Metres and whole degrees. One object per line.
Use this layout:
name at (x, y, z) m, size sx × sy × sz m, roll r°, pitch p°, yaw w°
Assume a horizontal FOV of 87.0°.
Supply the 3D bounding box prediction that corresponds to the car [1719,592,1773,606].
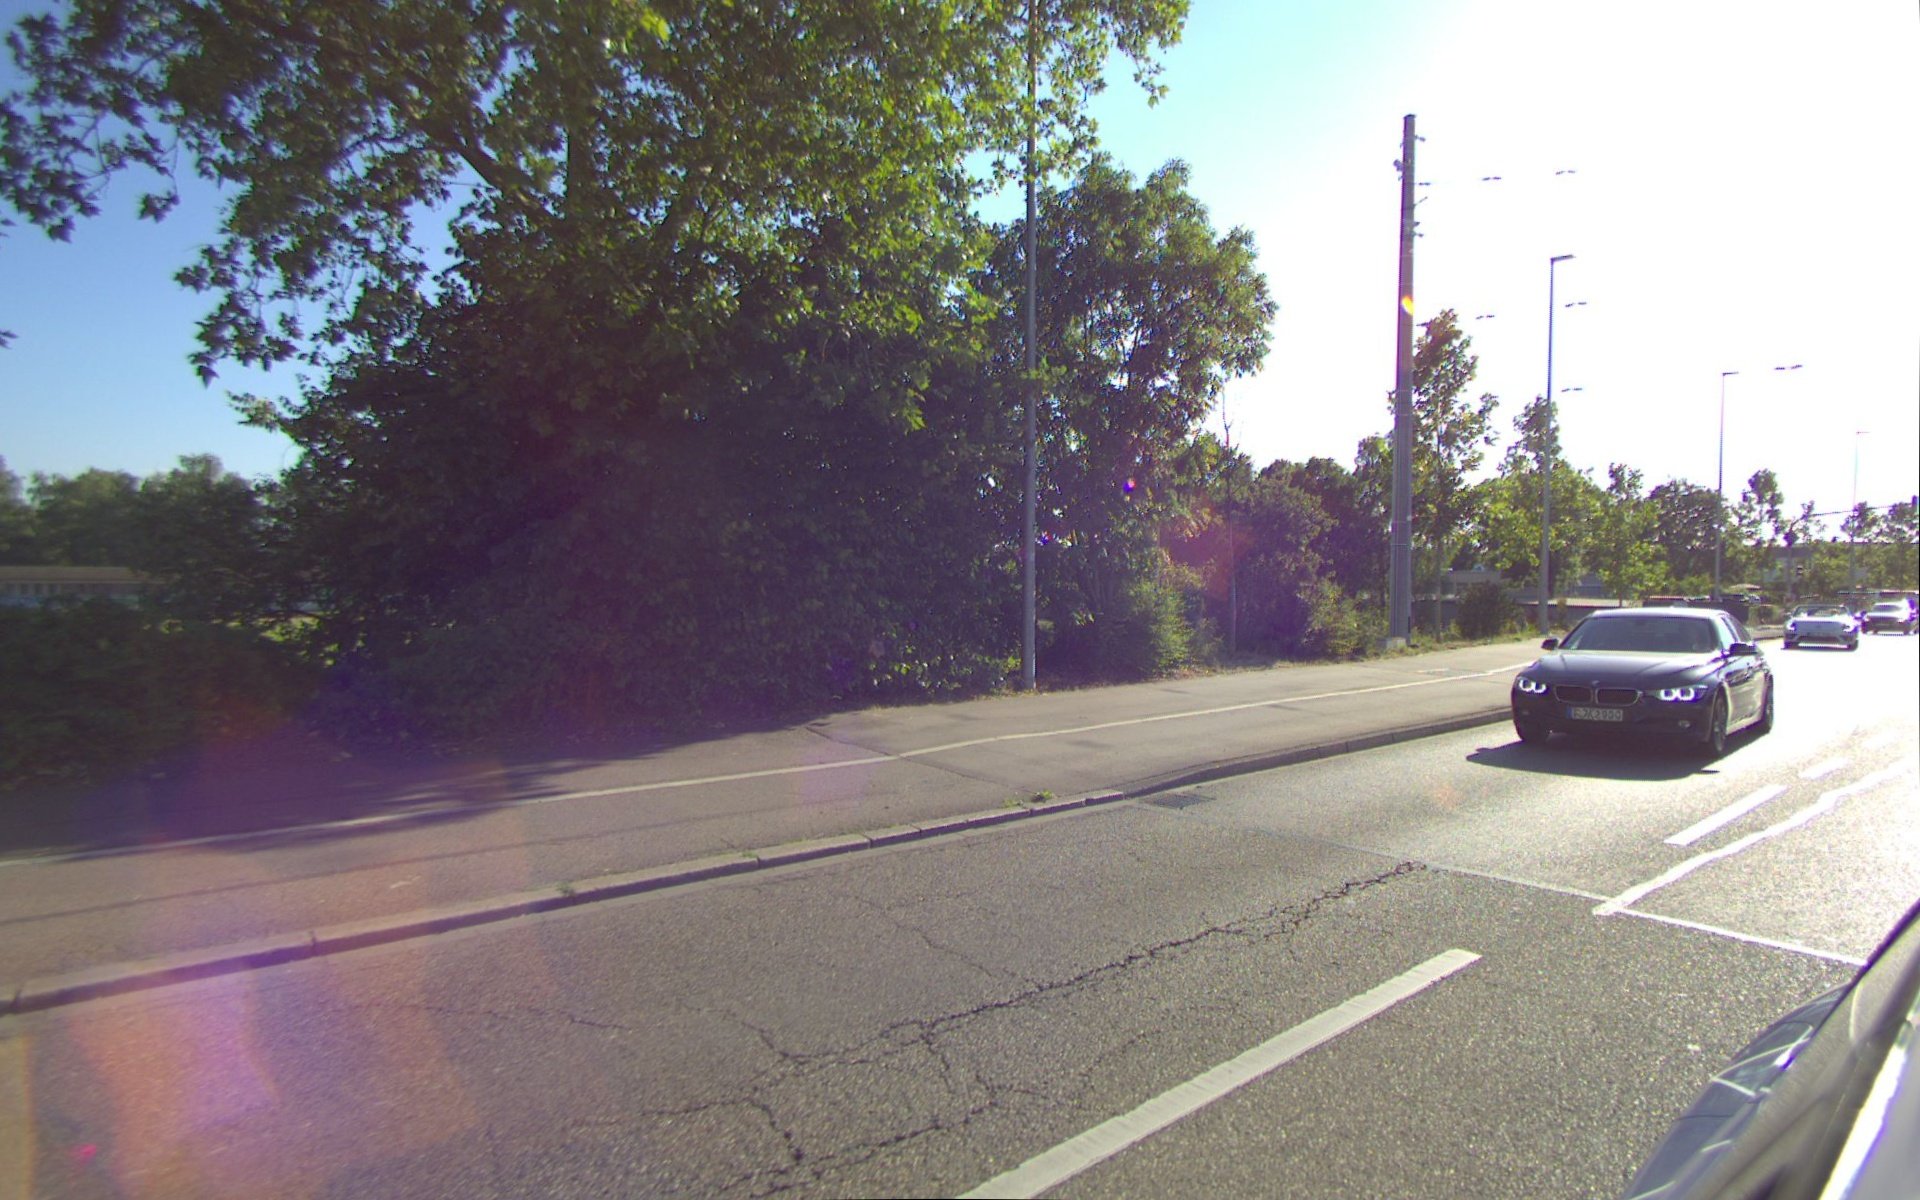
car at (92.237, -0.130, 118.811) m, size 1.826 × 1.589 × 4.657 m, roll 0°, pitch -1°, yaw -40°

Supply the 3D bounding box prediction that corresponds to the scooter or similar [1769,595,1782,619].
scooter or similar at (43.922, 0.391, 54.519) m, size 0.523 × 1.246 × 1.249 m, roll 2°, pitch 2°, yaw 39°

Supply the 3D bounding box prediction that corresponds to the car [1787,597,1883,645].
car at (28.622, 0.634, 33.069) m, size 3.911 × 1.441 × 1.855 m, roll 0°, pitch 1°, yaw -41°

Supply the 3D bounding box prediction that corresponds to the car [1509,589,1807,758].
car at (7.903, 0.632, 11.272) m, size 4.510 × 1.485 × 1.868 m, roll -1°, pitch 1°, yaw -44°

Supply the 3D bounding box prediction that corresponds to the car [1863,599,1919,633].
car at (44.059, 0.725, 47.461) m, size 3.924 × 1.530 × 1.742 m, roll 0°, pitch 0°, yaw -36°
